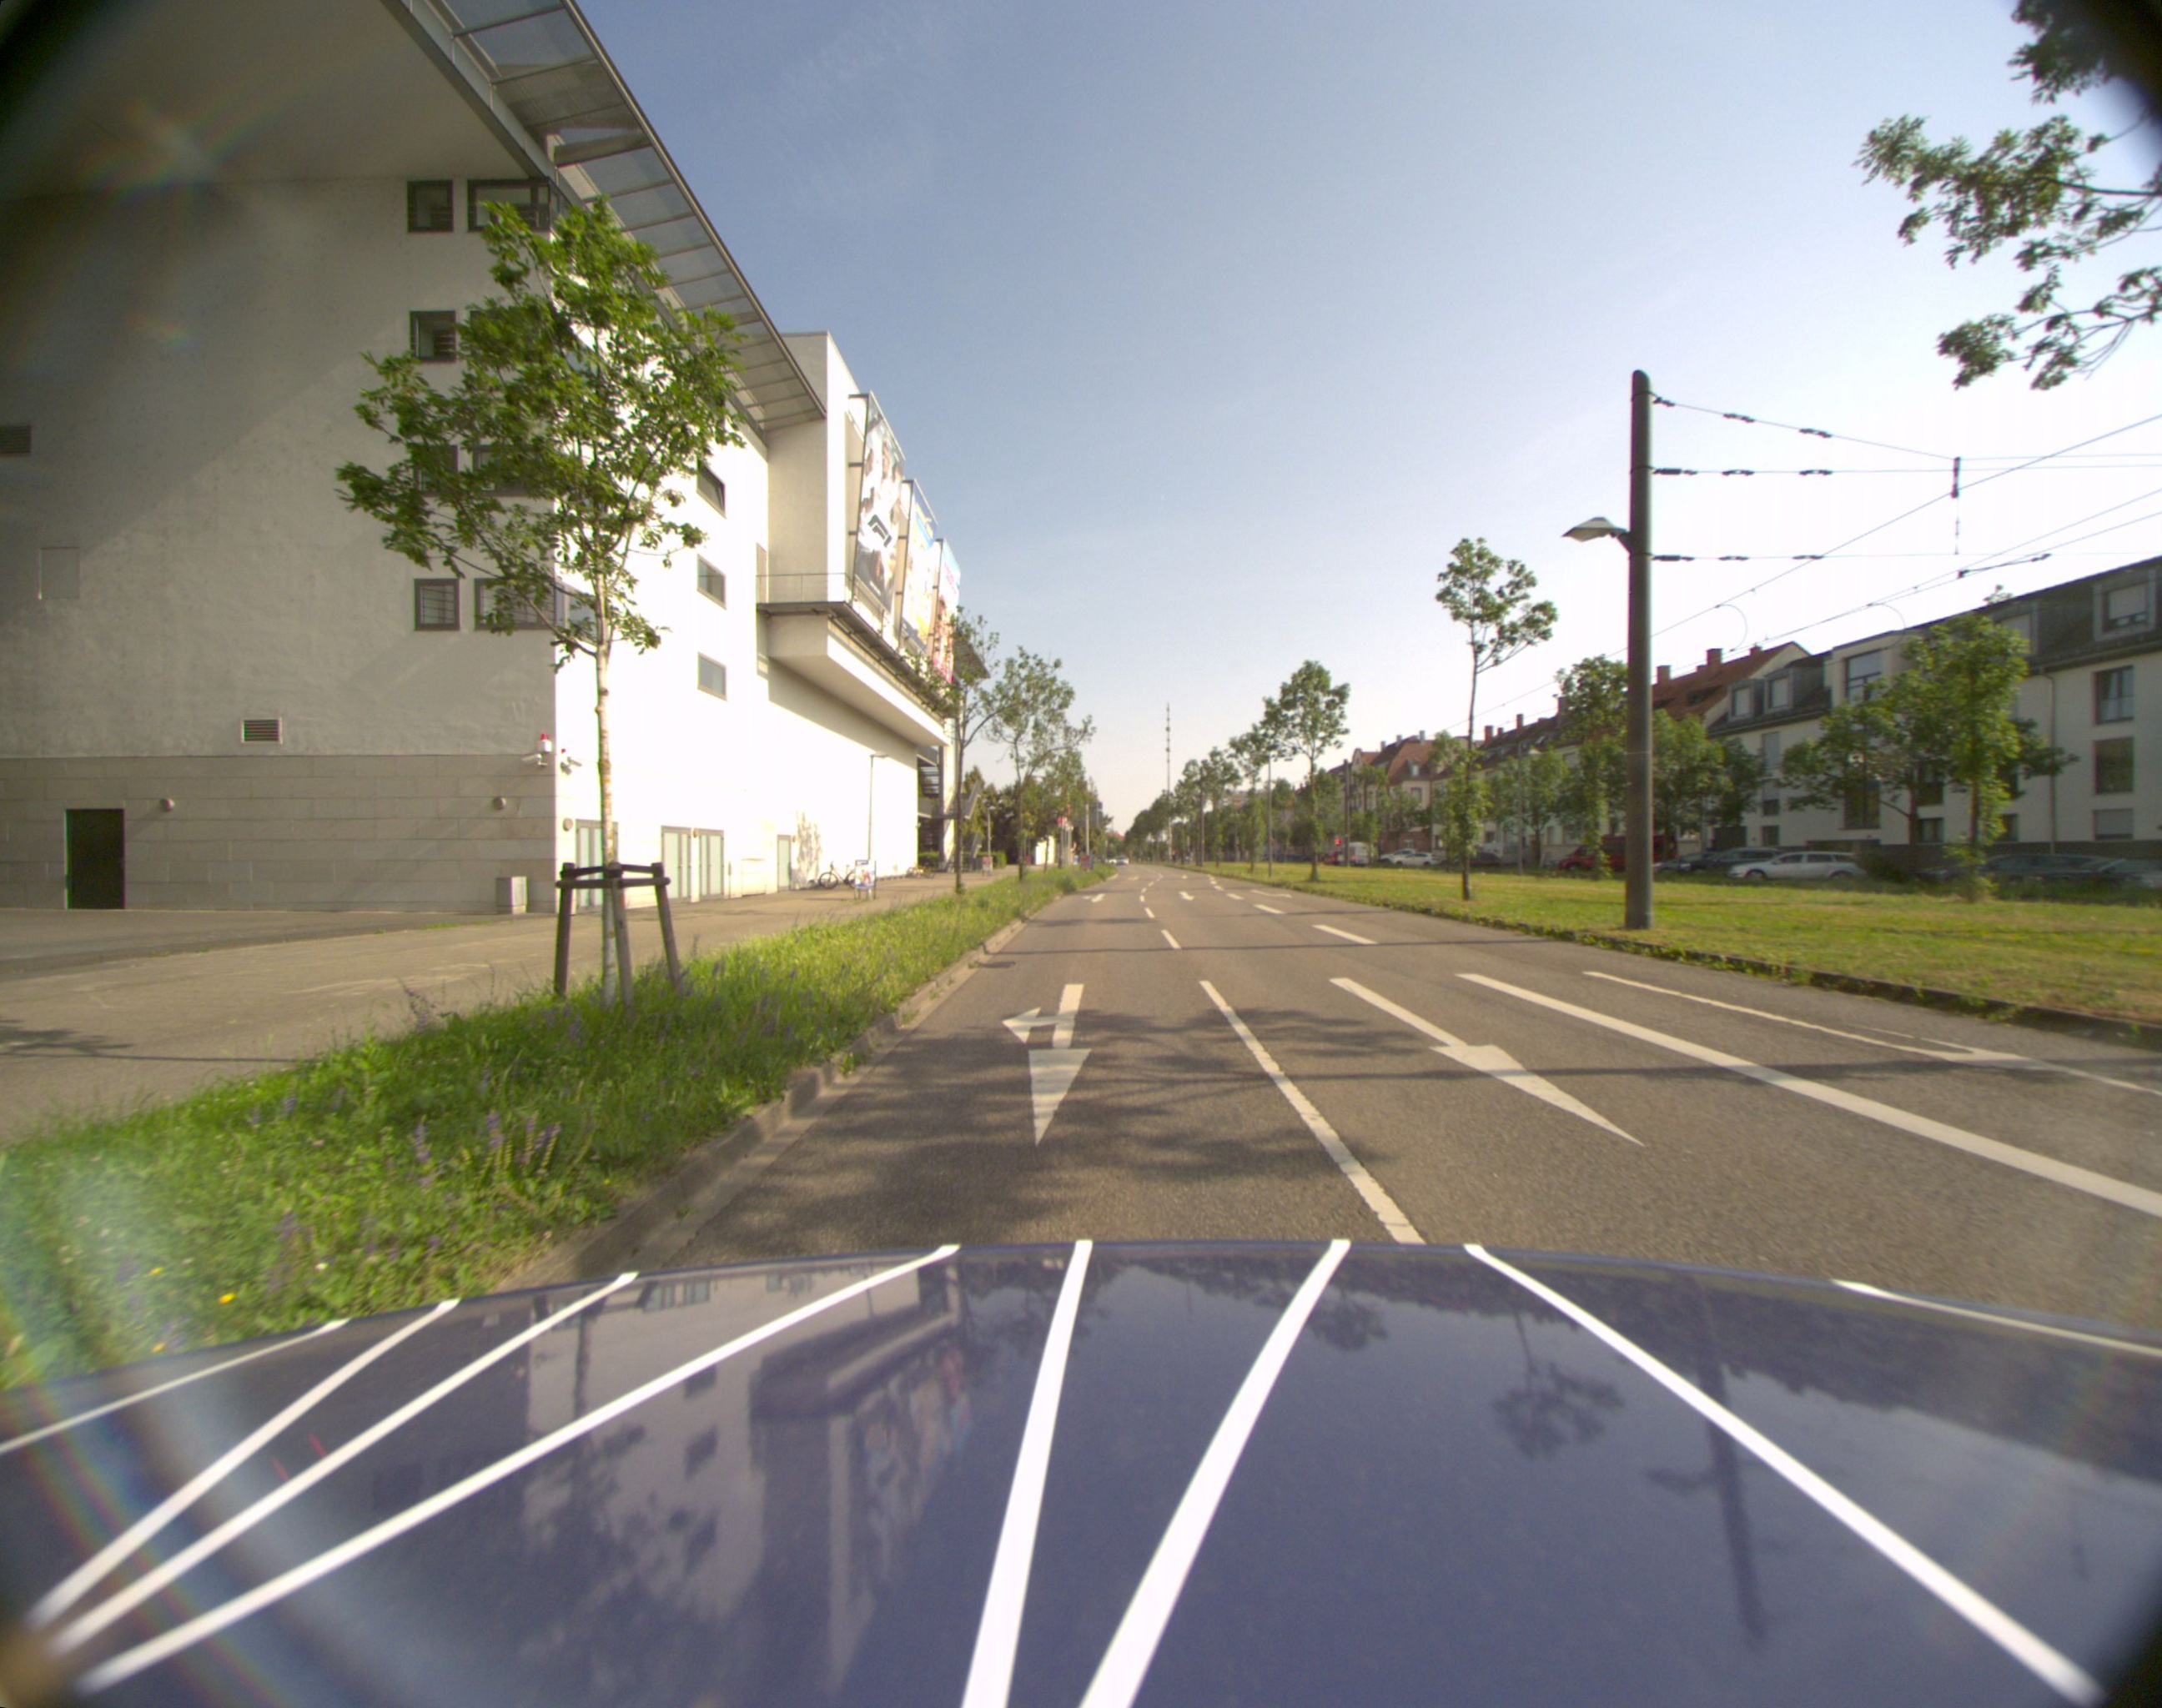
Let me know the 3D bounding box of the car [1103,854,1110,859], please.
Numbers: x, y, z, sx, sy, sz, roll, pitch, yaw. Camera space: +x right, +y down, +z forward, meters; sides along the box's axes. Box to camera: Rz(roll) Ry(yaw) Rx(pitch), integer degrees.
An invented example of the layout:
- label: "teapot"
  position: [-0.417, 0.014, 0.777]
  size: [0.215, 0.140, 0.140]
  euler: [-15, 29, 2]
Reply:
- label: "car"
  position: [7.366, 0.701, 218.460]
  size: [1.998, 1.652, 4.000]
  euler: [0, 0, 2]

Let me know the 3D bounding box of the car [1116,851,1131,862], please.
- label: "car"
  position: [6.331, 0.411, 113.570]
  size: [1.998, 1.652, 4.000]
  euler: [0, 0, 2]

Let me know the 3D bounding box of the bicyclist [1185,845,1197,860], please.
- label: "bicyclist"
  position: [13.418, -0.196, 92.480]
  size: [1.185, 1.840, 0.911]
  euler: [-2, 1, 20]

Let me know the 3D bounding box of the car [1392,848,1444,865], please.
- label: "car"
  position: [33.404, 0.252, 75.432]
  size: [4.354, 1.466, 1.861]
  euler: [-2, 1, 39]

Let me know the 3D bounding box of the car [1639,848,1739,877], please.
- label: "car"
  position: [31.894, 0.470, 39.997]
  size: [3.989, 1.412, 1.785]
  euler: [-2, 1, 37]

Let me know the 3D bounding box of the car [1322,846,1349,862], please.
- label: "car"
  position: [28.185, 0.023, 84.315]
  size: [1.820, 1.728, 4.162]
  euler: [1, 1, 3]

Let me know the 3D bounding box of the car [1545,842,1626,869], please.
- label: "car"
  position: [32.829, 0.110, 49.480]
  size: [4.141, 1.607, 1.872]
  euler: [-1, 3, 40]

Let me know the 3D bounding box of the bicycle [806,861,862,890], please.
- label: "bicycle"
  position: [-9.784, 0.850, 30.132]
  size: [2.012, 1.096, 0.676]
  euler: [-1, 1, 6]

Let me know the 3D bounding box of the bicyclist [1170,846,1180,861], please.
- label: "bicyclist"
  position: [11.142, -0.068, 90.263]
  size: [0.872, 1.812, 0.906]
  euler: [-1, 1, -22]

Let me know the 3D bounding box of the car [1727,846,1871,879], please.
- label: "car"
  position: [31.622, 0.393, 33.654]
  size: [4.387, 1.312, 1.737]
  euler: [-2, 1, 35]

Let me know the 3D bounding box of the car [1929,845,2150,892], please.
- label: "car"
  position: [30.682, 0.474, 24.528]
  size: [3.990, 1.368, 1.930]
  euler: [-2, 1, 29]

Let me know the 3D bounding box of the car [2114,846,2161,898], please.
- label: "car"
  position: [31.664, 0.430, 20.326]
  size: [4.329, 1.368, 2.003]
  euler: [-2, 1, 28]

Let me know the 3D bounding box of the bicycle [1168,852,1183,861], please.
- label: "bicycle"
  position: [11.210, 0.284, 90.303]
  size: [1.755, 1.139, 0.575]
  euler: [-1, 1, -24]

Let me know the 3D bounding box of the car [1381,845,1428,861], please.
- label: "car"
  position: [33.352, -0.111, 78.366]
  size: [4.087, 1.520, 1.816]
  euler: [-2, 1, 39]

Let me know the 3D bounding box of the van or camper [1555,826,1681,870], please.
- label: "van or camper"
  position: [32.725, -0.343, 46.410]
  size: [6.144, 2.532, 2.419]
  euler: [-1, 1, 39]

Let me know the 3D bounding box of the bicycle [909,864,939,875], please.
- label: "bicycle"
  position: [-9.421, 0.954, 45.625]
  size: [1.661, 0.641, 0.538]
  euler: [0, 1, 2]

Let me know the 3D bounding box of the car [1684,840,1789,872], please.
- label: "car"
  position: [31.705, 0.120, 36.886]
  size: [3.711, 1.426, 1.645]
  euler: [-2, 1, 35]

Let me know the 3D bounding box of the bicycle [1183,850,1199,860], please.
- label: "bicycle"
  position: [13.387, 0.152, 92.619]
  size: [1.789, 1.139, 0.577]
  euler: [-2, 1, 19]

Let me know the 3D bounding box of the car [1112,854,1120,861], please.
- label: "car"
  position: [8.563, 0.797, 186.559]
  size: [1.998, 1.652, 4.000]
  euler: [0, 0, 2]

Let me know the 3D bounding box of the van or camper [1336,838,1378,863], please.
- label: "van or camper"
  position: [27.949, -0.386, 77.295]
  size: [2.146, 2.459, 6.059]
  euler: [1, 1, 1]

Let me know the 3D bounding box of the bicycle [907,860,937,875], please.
- label: "bicycle"
  position: [-9.379, 0.790, 44.941]
  size: [1.661, 0.910, 0.482]
  euler: [0, 1, 2]

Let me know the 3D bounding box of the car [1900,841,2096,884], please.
- label: "car"
  position: [31.933, 0.294, 26.647]
  size: [3.990, 1.368, 1.839]
  euler: [-2, 1, 29]

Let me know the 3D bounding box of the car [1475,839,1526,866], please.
- label: "car"
  position: [40.359, -0.163, 73.212]
  size: [1.998, 2.449, 5.578]
  euler: [-2, 1, 3]

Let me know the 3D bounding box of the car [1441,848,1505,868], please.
- label: "car"
  position: [32.528, 0.330, 63.130]
  size: [4.338, 1.521, 2.004]
  euler: [-2, 1, 41]
